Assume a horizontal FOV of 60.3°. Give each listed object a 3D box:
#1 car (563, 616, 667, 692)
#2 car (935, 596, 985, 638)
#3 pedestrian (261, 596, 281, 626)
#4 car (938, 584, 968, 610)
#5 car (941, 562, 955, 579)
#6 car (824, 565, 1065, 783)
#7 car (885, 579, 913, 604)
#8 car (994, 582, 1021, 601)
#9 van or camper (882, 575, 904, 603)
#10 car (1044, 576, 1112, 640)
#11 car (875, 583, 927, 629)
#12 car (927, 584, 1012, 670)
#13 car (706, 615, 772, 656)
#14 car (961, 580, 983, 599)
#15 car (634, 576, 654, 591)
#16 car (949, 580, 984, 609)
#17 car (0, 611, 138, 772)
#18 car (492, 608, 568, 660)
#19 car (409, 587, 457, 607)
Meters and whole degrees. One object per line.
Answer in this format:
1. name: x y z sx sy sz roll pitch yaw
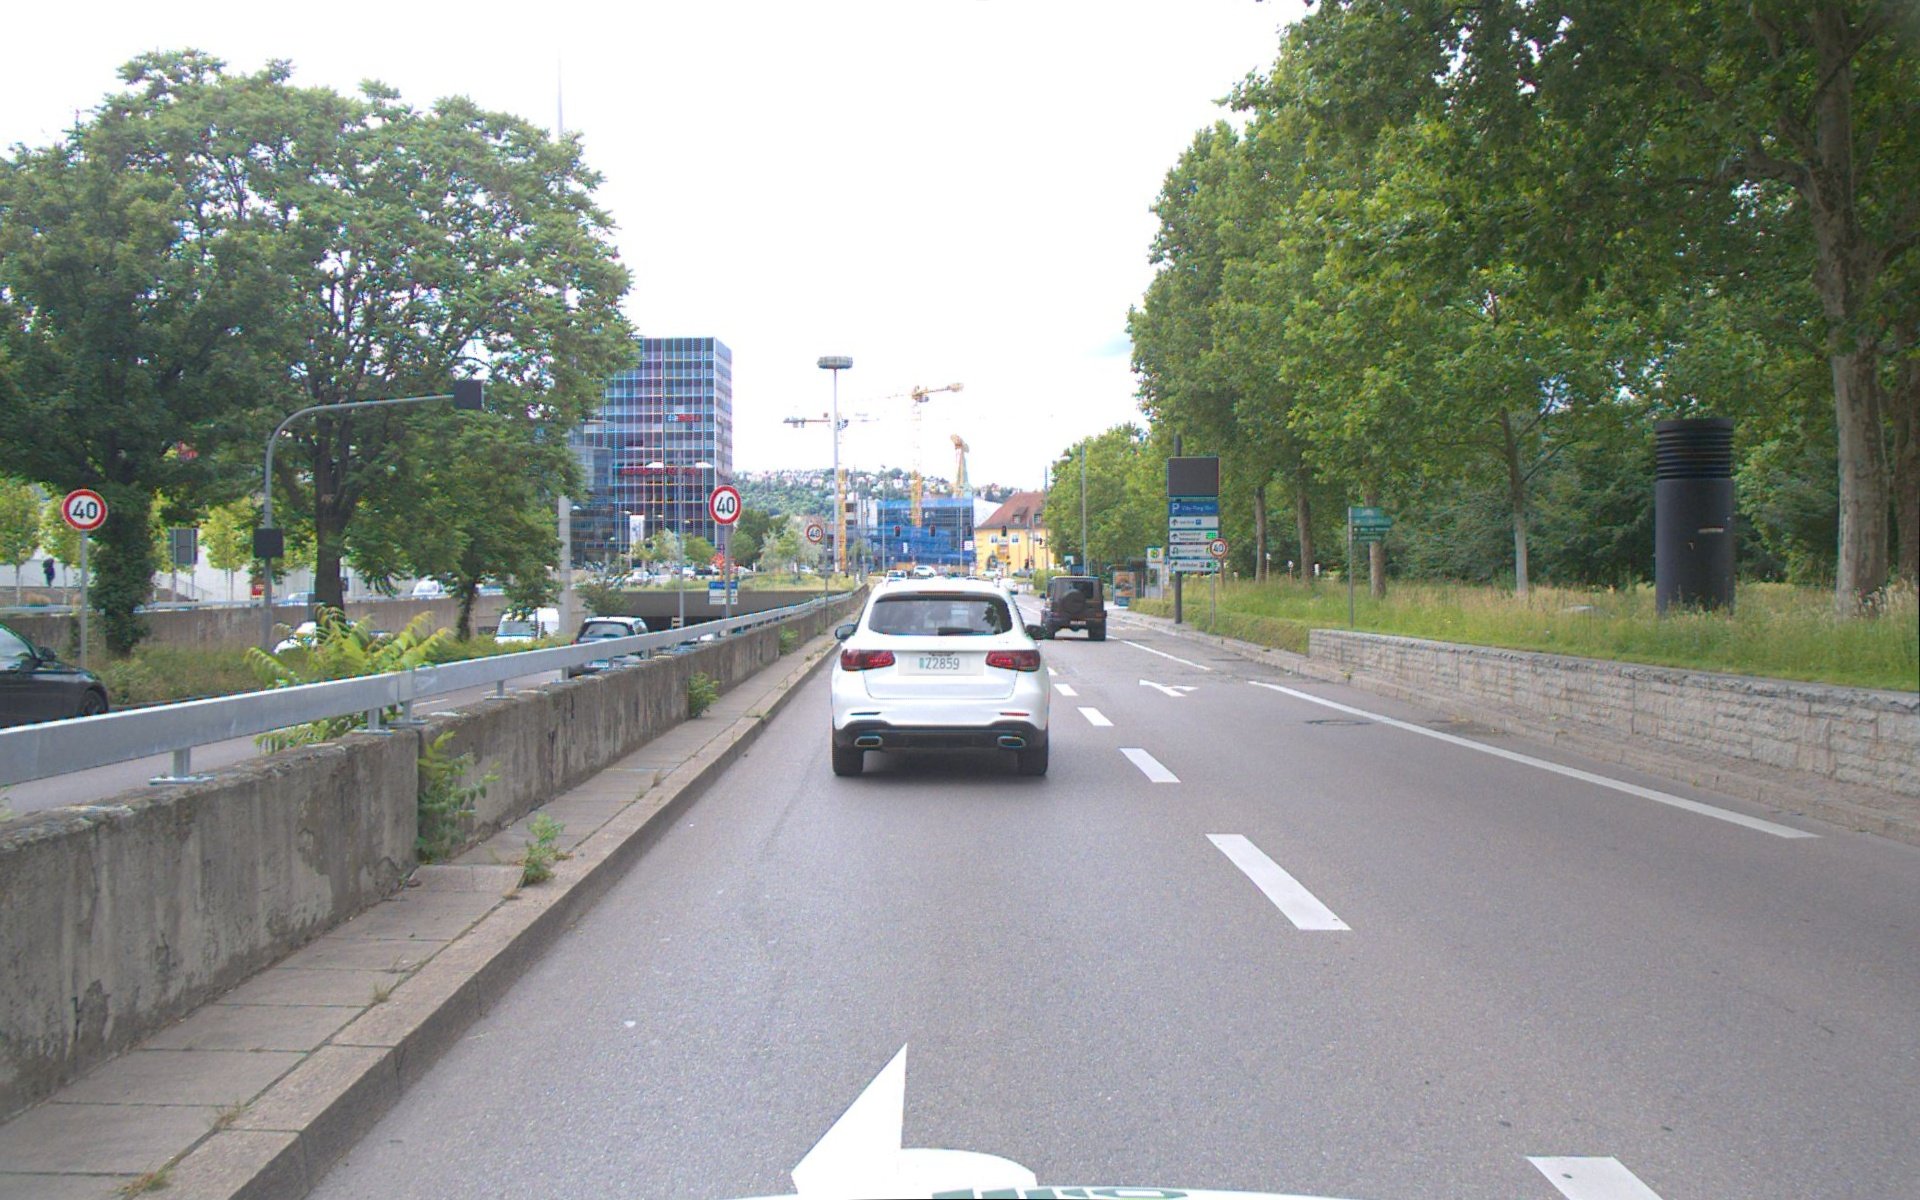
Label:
1. car: -7.451 1.143 35.974 1.594 1.535 3.538 1 -1 -2
2. car: -0.027 0.671 68.132 1.884 1.630 3.998 1 0 -2
3. pedestrian: -38.745 0.609 93.025 0.720 1.669 1.004 0 0 -2
4. car: -0.517 -0.210 120.817 1.953 1.812 3.998 2 -1 -2
5. car: -1.592 -3.868 218.317 1.764 2.049 3.998 2 -1 -2
6. car: -0.207 0.601 15.058 1.902 1.713 3.998 0 -1 -3
7. car: -4.606 -0.633 125.205 1.953 1.787 3.999 2 -1 0
8. car: 4.362 -0.784 153.129 1.955 1.646 3.994 2 -1 -6
9. van or camper: -5.859 -0.945 145.165 1.884 2.360 3.997 1 -2 -2
10. car: 3.795 0.285 53.918 1.937 1.926 4.707 2 -1 1
11. car: -2.209 0.210 61.924 1.884 1.630 3.998 1 0 -2
12. car: 0.143 0.575 34.808 1.638 1.656 3.998 2 -1 -1
13. car: -7.717 1.216 58.086 1.684 1.315 4.000 2 0 1
14. car: 1.081 -0.955 152.973 1.685 1.612 3.997 2 0 -4
15. car: -34.035 -1.761 178.188 1.797 1.384 3.862 2 -1 -7
16. car: 0.409 -0.326 102.807 1.953 1.691 3.998 2 -1 -2
17. car: -9.830 0.846 15.715 1.776 1.486 4.860 1 -1 -3
18. car: -19.140 1.505 73.934 1.935 2.203 6.210 1 -1 -2
19. car: -34.289 -0.195 107.756 1.773 1.138 4.805 2 -1 -3
